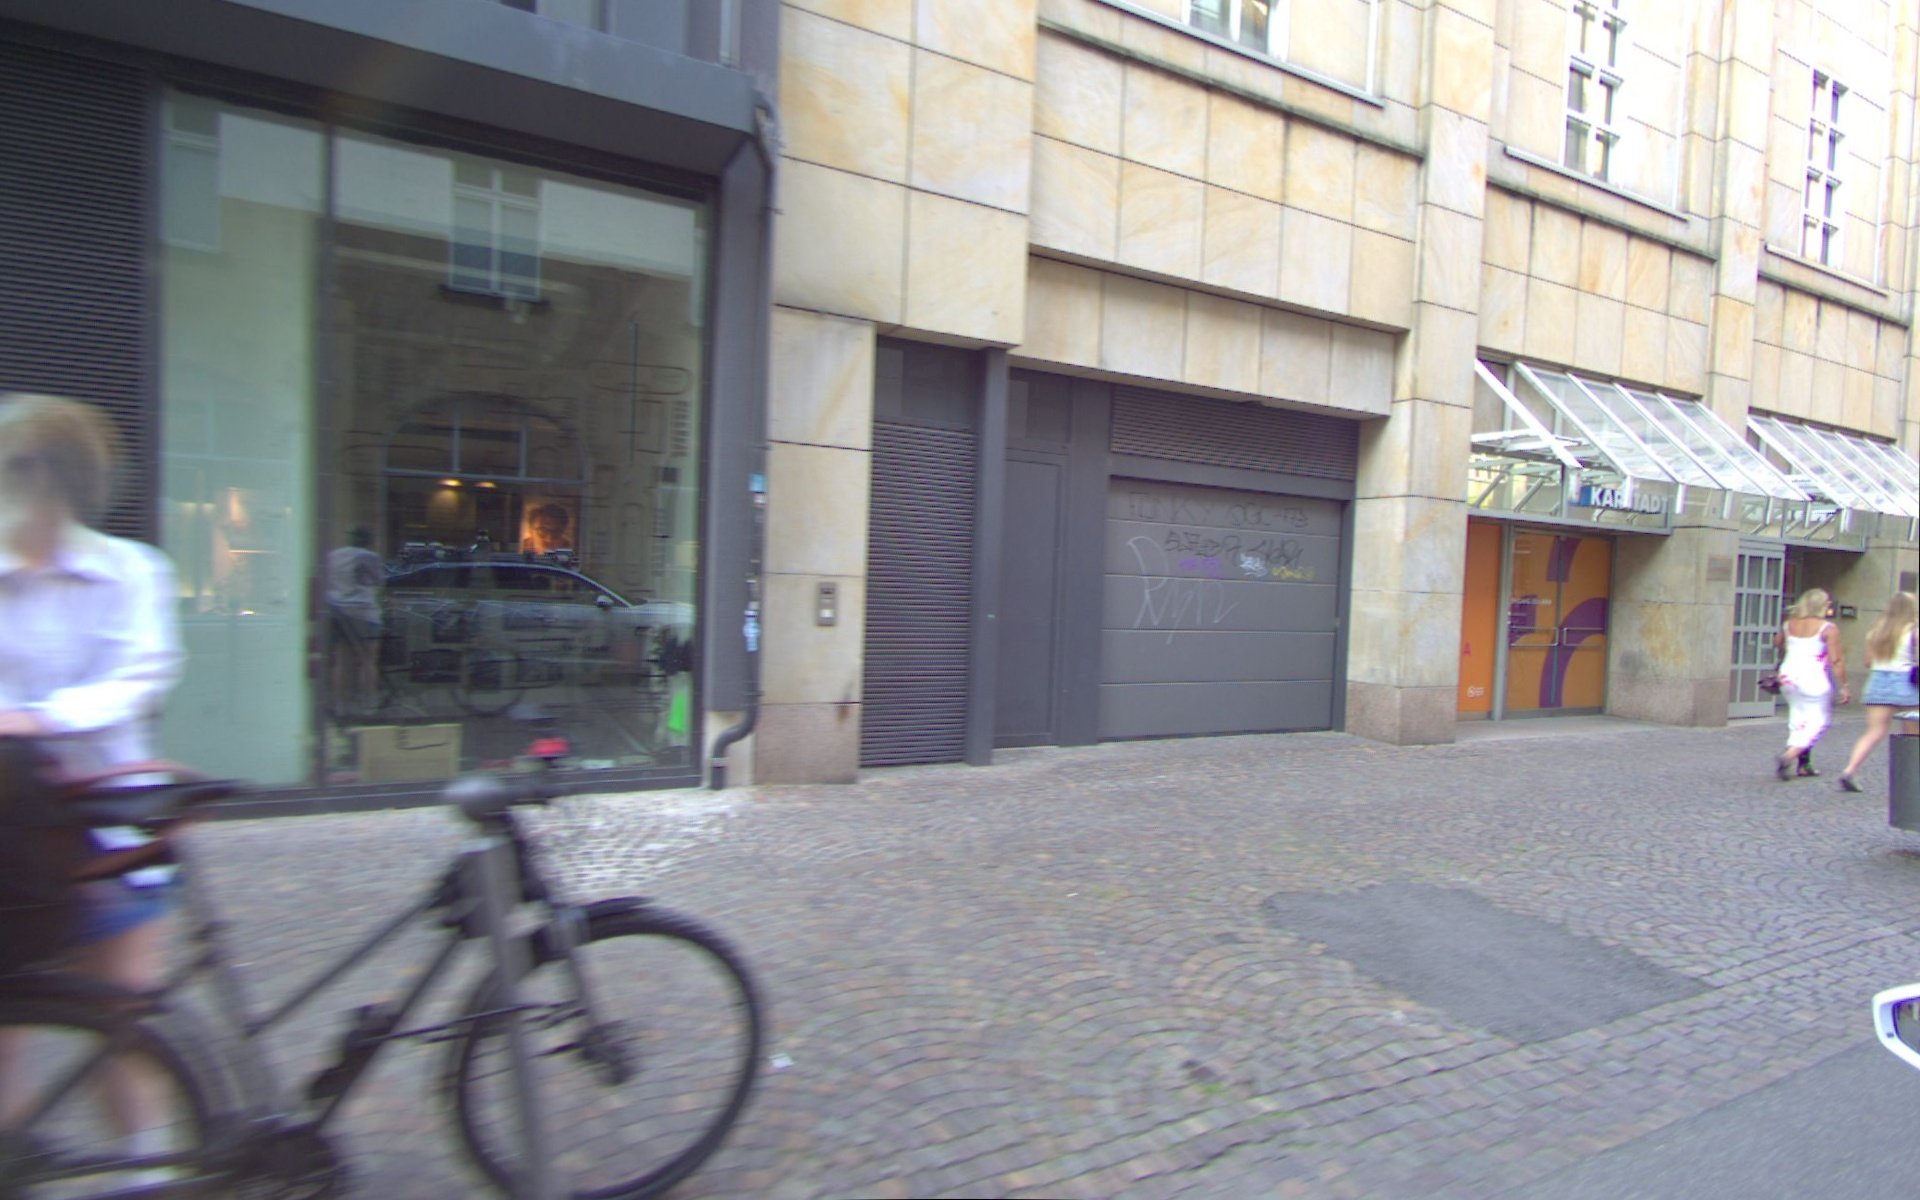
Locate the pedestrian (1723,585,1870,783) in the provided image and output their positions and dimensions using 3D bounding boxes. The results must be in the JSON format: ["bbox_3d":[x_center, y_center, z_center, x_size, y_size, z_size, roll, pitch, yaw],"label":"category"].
[{"bbox_3d":[7.564,0.722,9.096,0.849,1.687,0.672,1,2,-27],"label":"pedestrian"}]

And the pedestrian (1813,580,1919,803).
[{"bbox_3d":[7.899,0.732,8.424,0.937,1.753,0.802,1,2,-30],"label":"pedestrian"}]

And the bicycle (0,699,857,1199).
[{"bbox_3d":[-1.179,0.820,1.770,1.890,1.169,0.530,1,3,-28],"label":"bicycle"}]

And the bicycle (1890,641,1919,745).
[{"bbox_3d":[11.727,1.085,11.605,1.734,1.153,0.522,1,1,-13],"label":"bicycle"}]

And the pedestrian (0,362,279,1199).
[{"bbox_3d":[-1.820,0.485,1.820,0.755,1.742,0.592,3,3,4],"label":"pedestrian"}]
